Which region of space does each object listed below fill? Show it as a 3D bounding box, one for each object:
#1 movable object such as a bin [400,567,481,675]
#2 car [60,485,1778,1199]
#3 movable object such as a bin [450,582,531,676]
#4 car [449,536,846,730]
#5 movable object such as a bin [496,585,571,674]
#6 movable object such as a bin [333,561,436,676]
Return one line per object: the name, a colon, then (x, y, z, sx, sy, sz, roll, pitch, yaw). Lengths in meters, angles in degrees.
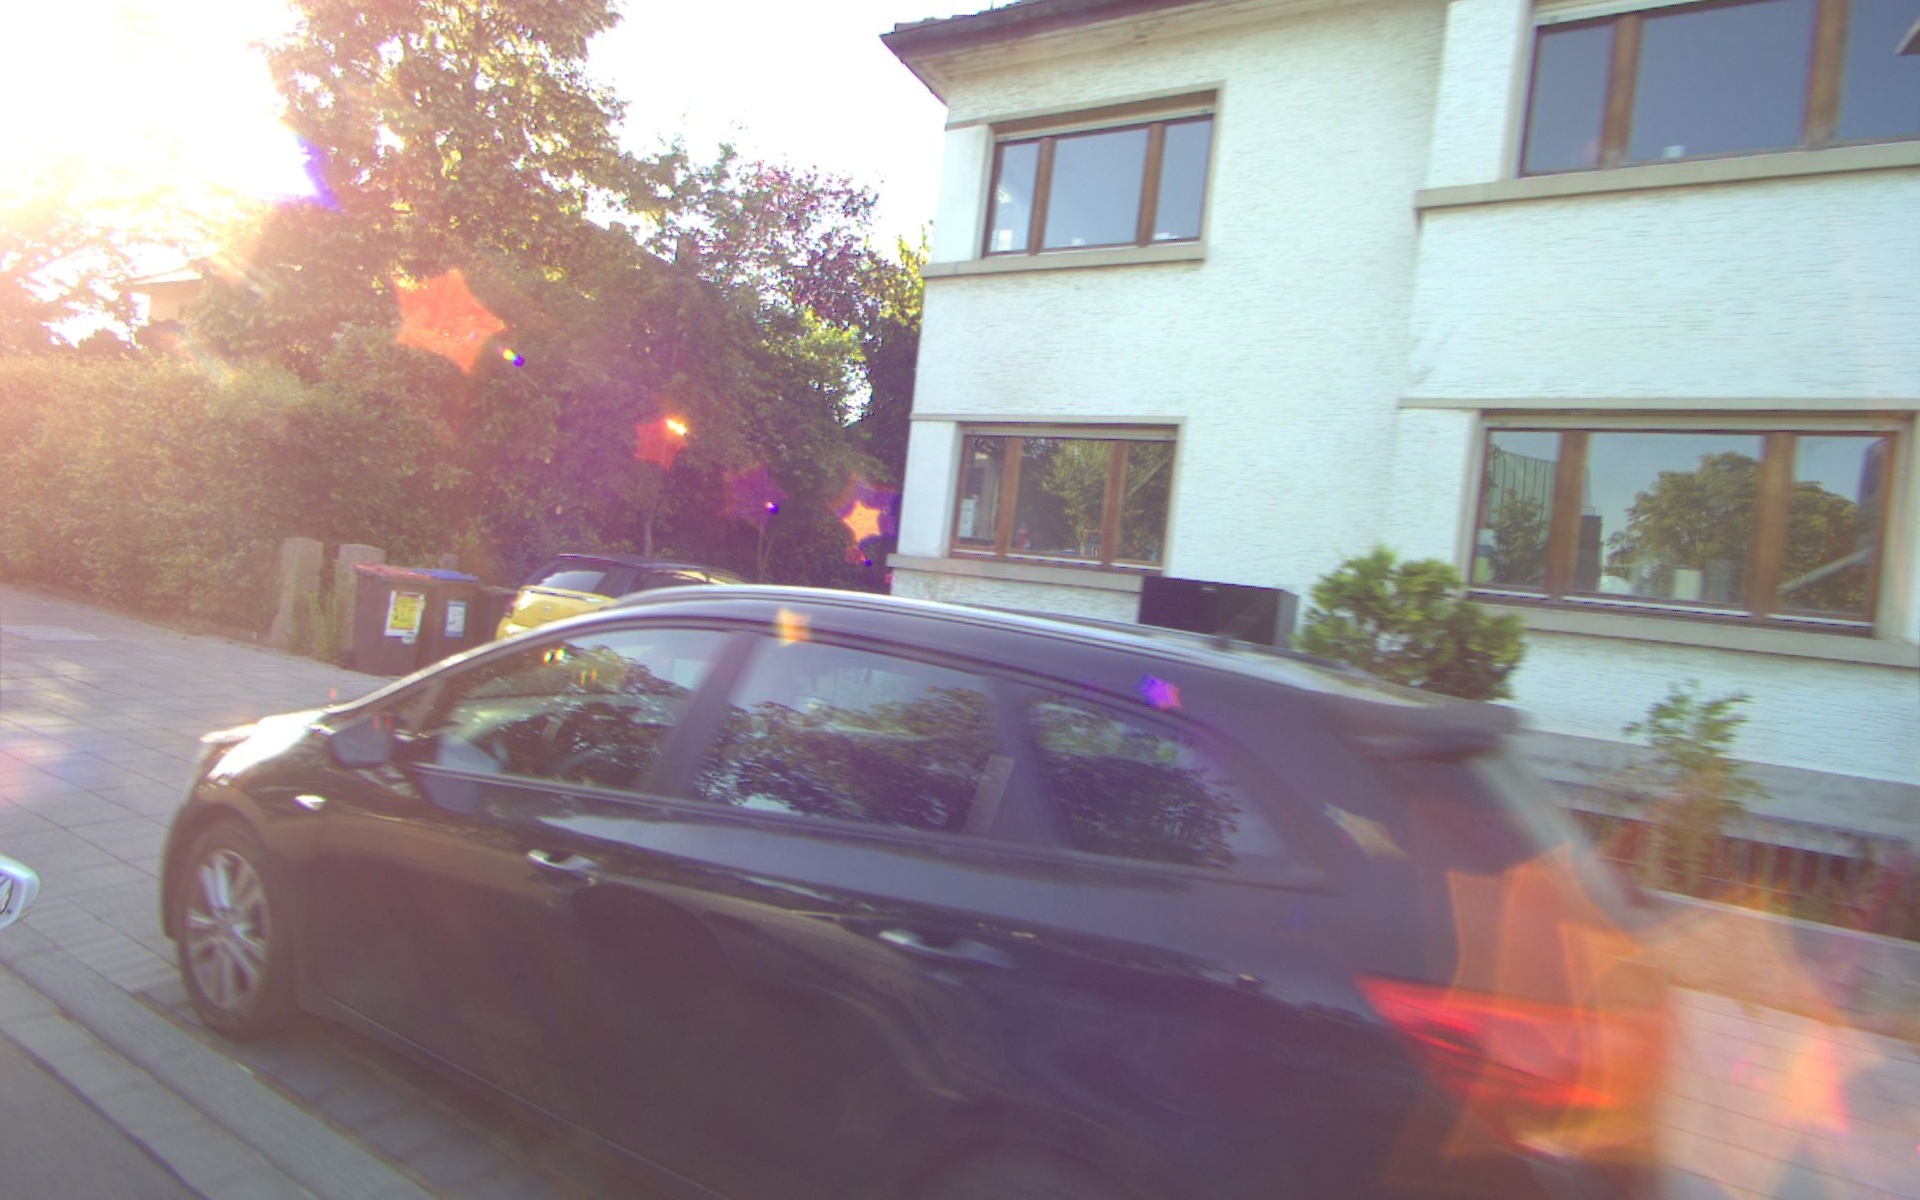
movable object such as a bin: (-5.433, 0.228, 10.537, 0.409, 1.056, 0.509, 7, 0, 24)
car: (-0.569, 0.629, 2.933, 4.182, 1.494, 1.748, 7, 2, 29)
movable object such as a bin: (-5.149, 0.321, 11.047, 0.493, 0.955, 0.509, 7, 0, 24)
car: (-3.029, 0.330, 10.461, 1.751, 1.515, 3.638, 7, 1, 29)
movable object such as a bin: (-4.911, 0.348, 11.591, 0.481, 0.955, 0.509, 7, 0, 24)
movable object such as a bin: (-5.761, 0.190, 10.076, 0.647, 1.056, 0.509, 7, 0, 24)
